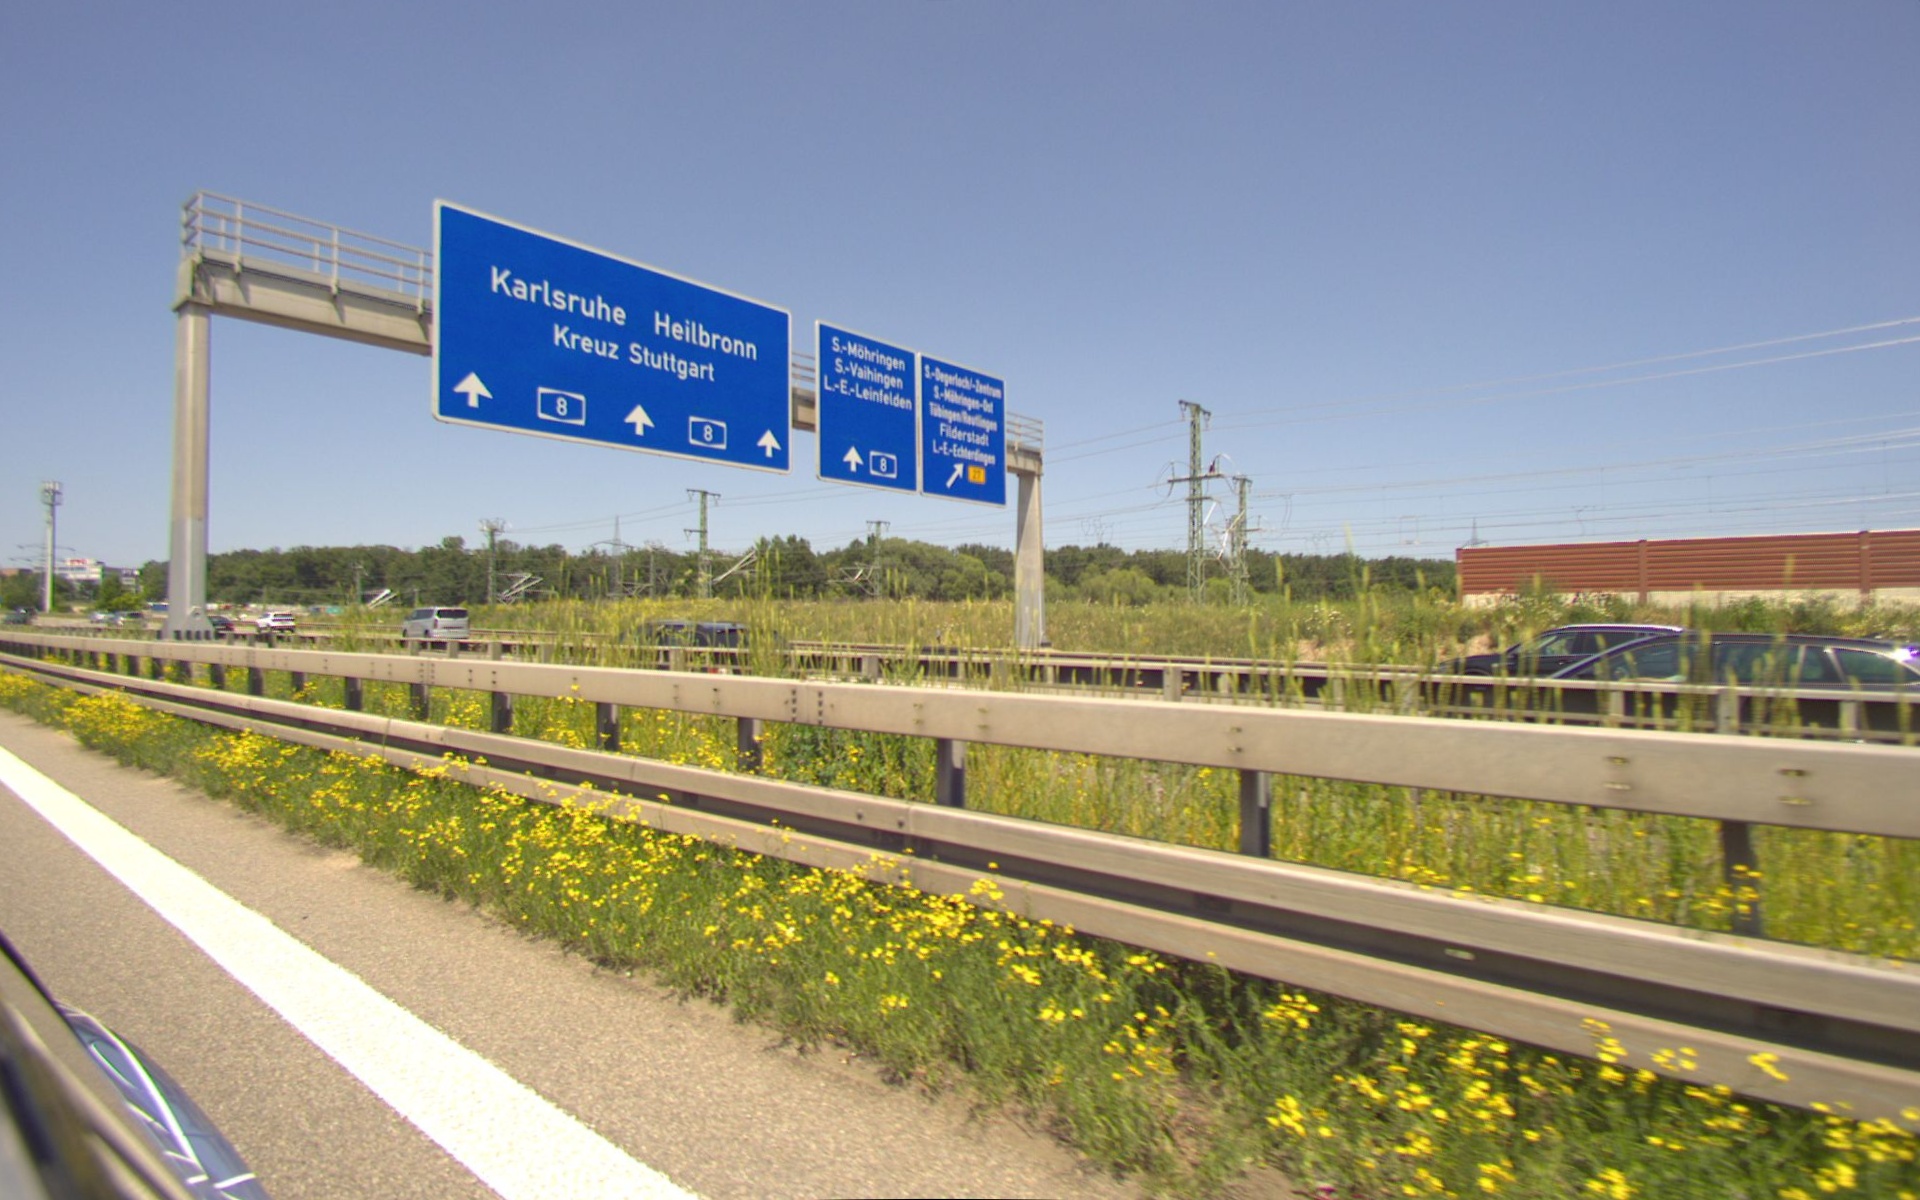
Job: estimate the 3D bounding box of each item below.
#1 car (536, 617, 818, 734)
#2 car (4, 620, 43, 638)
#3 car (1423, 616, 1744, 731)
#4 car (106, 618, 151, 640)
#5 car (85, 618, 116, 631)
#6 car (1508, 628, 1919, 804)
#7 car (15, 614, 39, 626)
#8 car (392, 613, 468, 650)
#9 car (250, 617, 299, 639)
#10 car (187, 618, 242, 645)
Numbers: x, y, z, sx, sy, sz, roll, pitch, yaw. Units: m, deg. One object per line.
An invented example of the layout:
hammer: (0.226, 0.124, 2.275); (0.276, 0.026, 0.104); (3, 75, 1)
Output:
car: (-4.121, 0.959, 14.386); (4.268, 1.405, 1.848); (-1, -1, 41)
car: (-80.793, 2.485, 87.321); (4.473, 1.495, 1.909); (-1, -1, 40)
car: (10.803, 1.172, 17.742); (4.511, 1.739, 1.972); (-1, -1, 42)
car: (-63.568, 2.197, 77.371); (4.475, 1.588, 1.973); (-1, -1, 41)
car: (-95.769, 2.714, 112.804); (4.160, 1.321, 1.973); (-1, -1, 40)
car: (7.801, 0.976, 9.403); (4.507, 1.405, 1.849); (-1, -1, 39)
car: (-127.626, 2.683, 138.431); (4.932, 1.609, 1.973); (-1, -1, 41)
car: (-28.545, 1.661, 54.436); (4.975, 1.900, 1.972); (-1, -1, 42)
car: (-51.378, 2.076, 75.816); (4.475, 1.588, 1.973); (-1, -1, 41)
car: (-46.756, 1.961, 63.459); (4.477, 1.588, 1.972); (-1, -1, 43)
